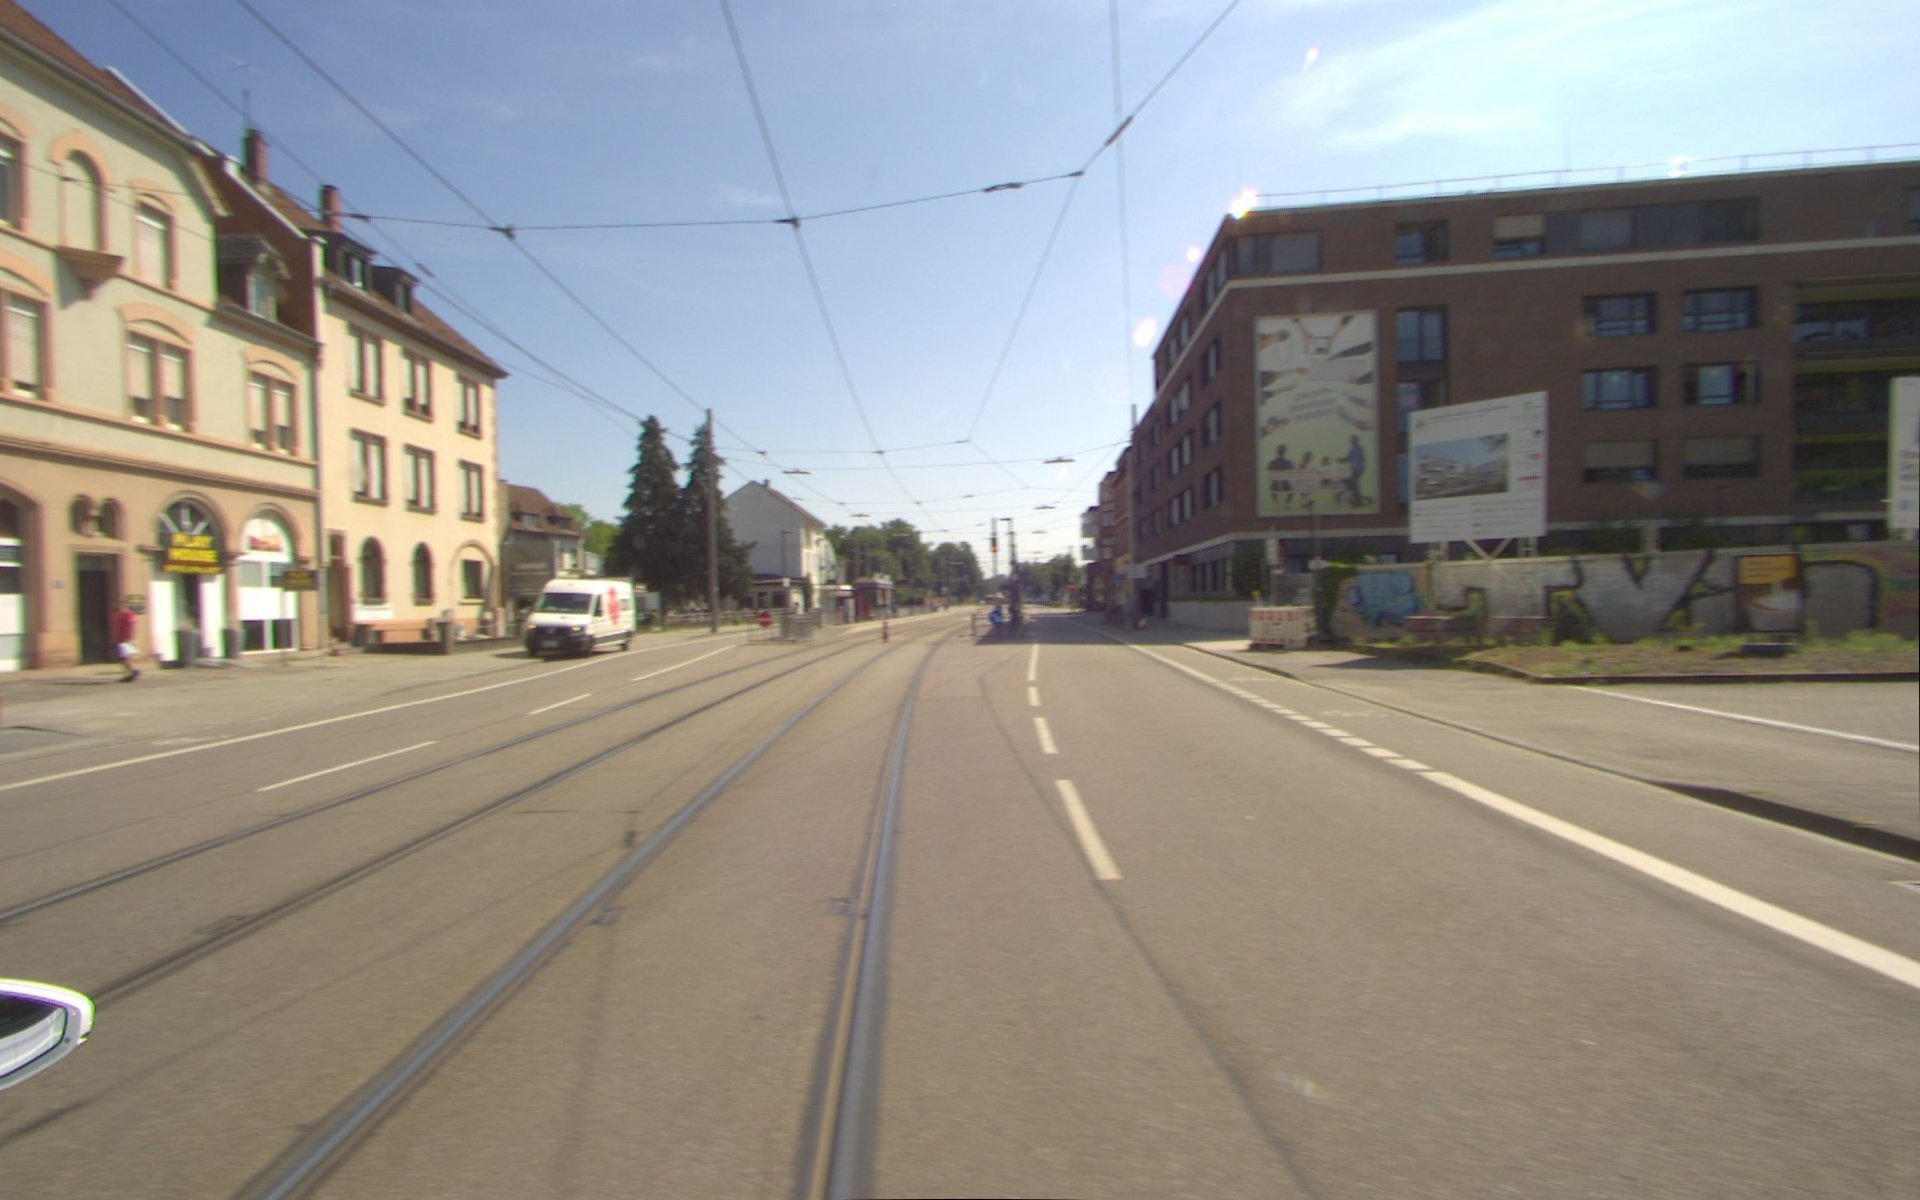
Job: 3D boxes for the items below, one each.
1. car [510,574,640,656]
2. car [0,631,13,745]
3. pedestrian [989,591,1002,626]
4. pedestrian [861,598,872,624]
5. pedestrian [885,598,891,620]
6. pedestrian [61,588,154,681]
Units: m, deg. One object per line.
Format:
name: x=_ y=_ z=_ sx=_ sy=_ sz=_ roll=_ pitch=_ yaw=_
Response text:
car: x=-13.163 y=0.485 z=34.781 sx=2.292 sy=2.569 sz=6.505 roll=1 pitch=0 yaw=-3
car: x=-12.811 y=1.121 z=10.700 sx=1.692 sy=1.425 sz=4.000 roll=-1 pitch=0 yaw=-4
pedestrian: x=1.806 y=0.429 z=51.066 sx=0.547 sy=1.783 sz=0.793 roll=-2 pitch=1 yaw=-3
pedestrian: x=-6.353 y=0.739 z=68.305 sx=0.694 sy=1.712 sz=0.416 roll=-1 pitch=1 yaw=-5
pedestrian: x=-5.685 y=0.738 z=78.916 sx=0.408 sy=1.712 sz=0.707 roll=-1 pitch=1 yaw=-11
pedestrian: x=-17.532 y=0.686 z=20.619 sx=0.930 sy=1.839 sz=1.126 roll=-1 pitch=1 yaw=24
